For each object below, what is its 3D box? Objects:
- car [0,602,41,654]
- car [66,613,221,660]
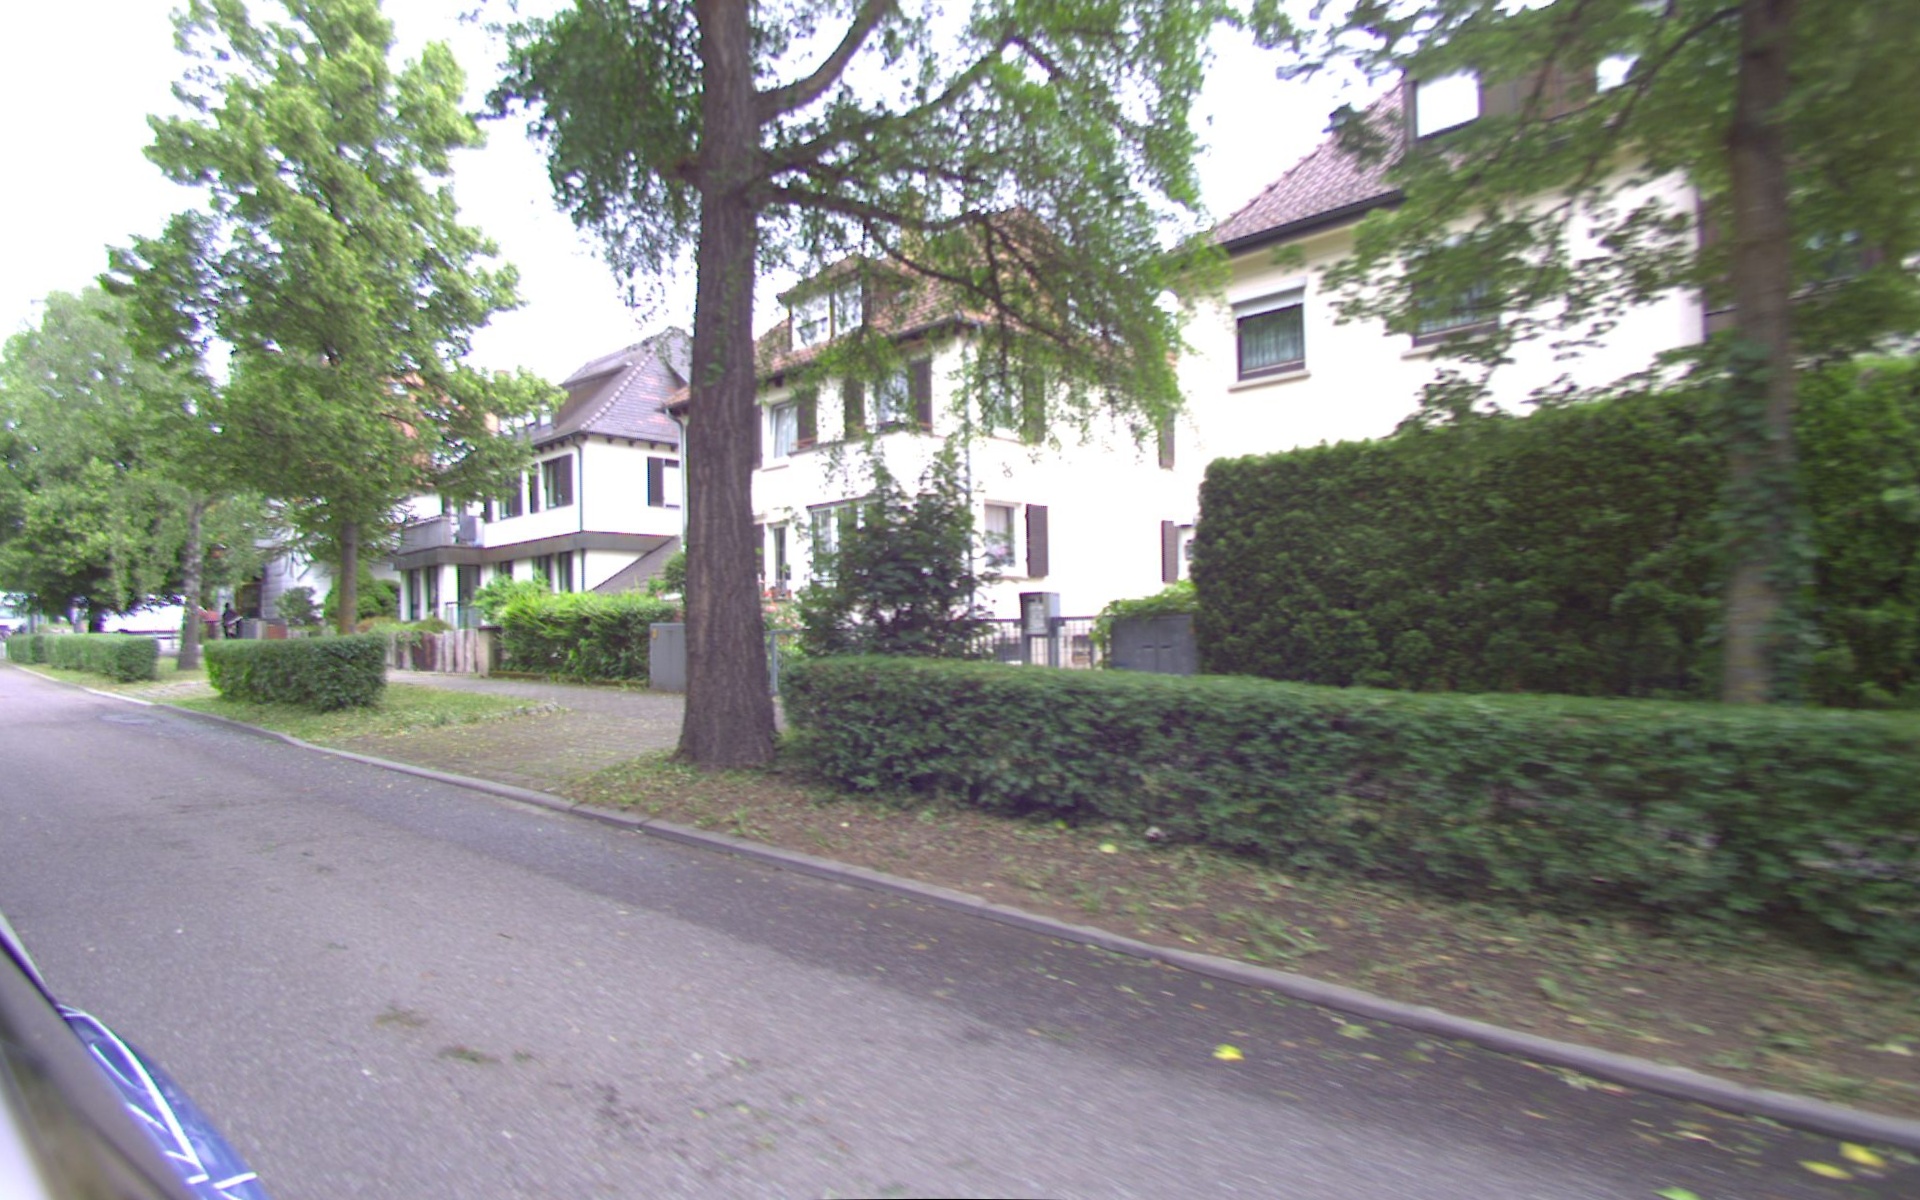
[{"bbox_3d":[-63.430,1.824,66.946,2.396,3.300,7.814,1,-1,-31],"label":"car"},{"bbox_3d":[-43.330,1.910,53.957,1.962,2.365,6.327,-1,-1,20],"label":"car"}]
